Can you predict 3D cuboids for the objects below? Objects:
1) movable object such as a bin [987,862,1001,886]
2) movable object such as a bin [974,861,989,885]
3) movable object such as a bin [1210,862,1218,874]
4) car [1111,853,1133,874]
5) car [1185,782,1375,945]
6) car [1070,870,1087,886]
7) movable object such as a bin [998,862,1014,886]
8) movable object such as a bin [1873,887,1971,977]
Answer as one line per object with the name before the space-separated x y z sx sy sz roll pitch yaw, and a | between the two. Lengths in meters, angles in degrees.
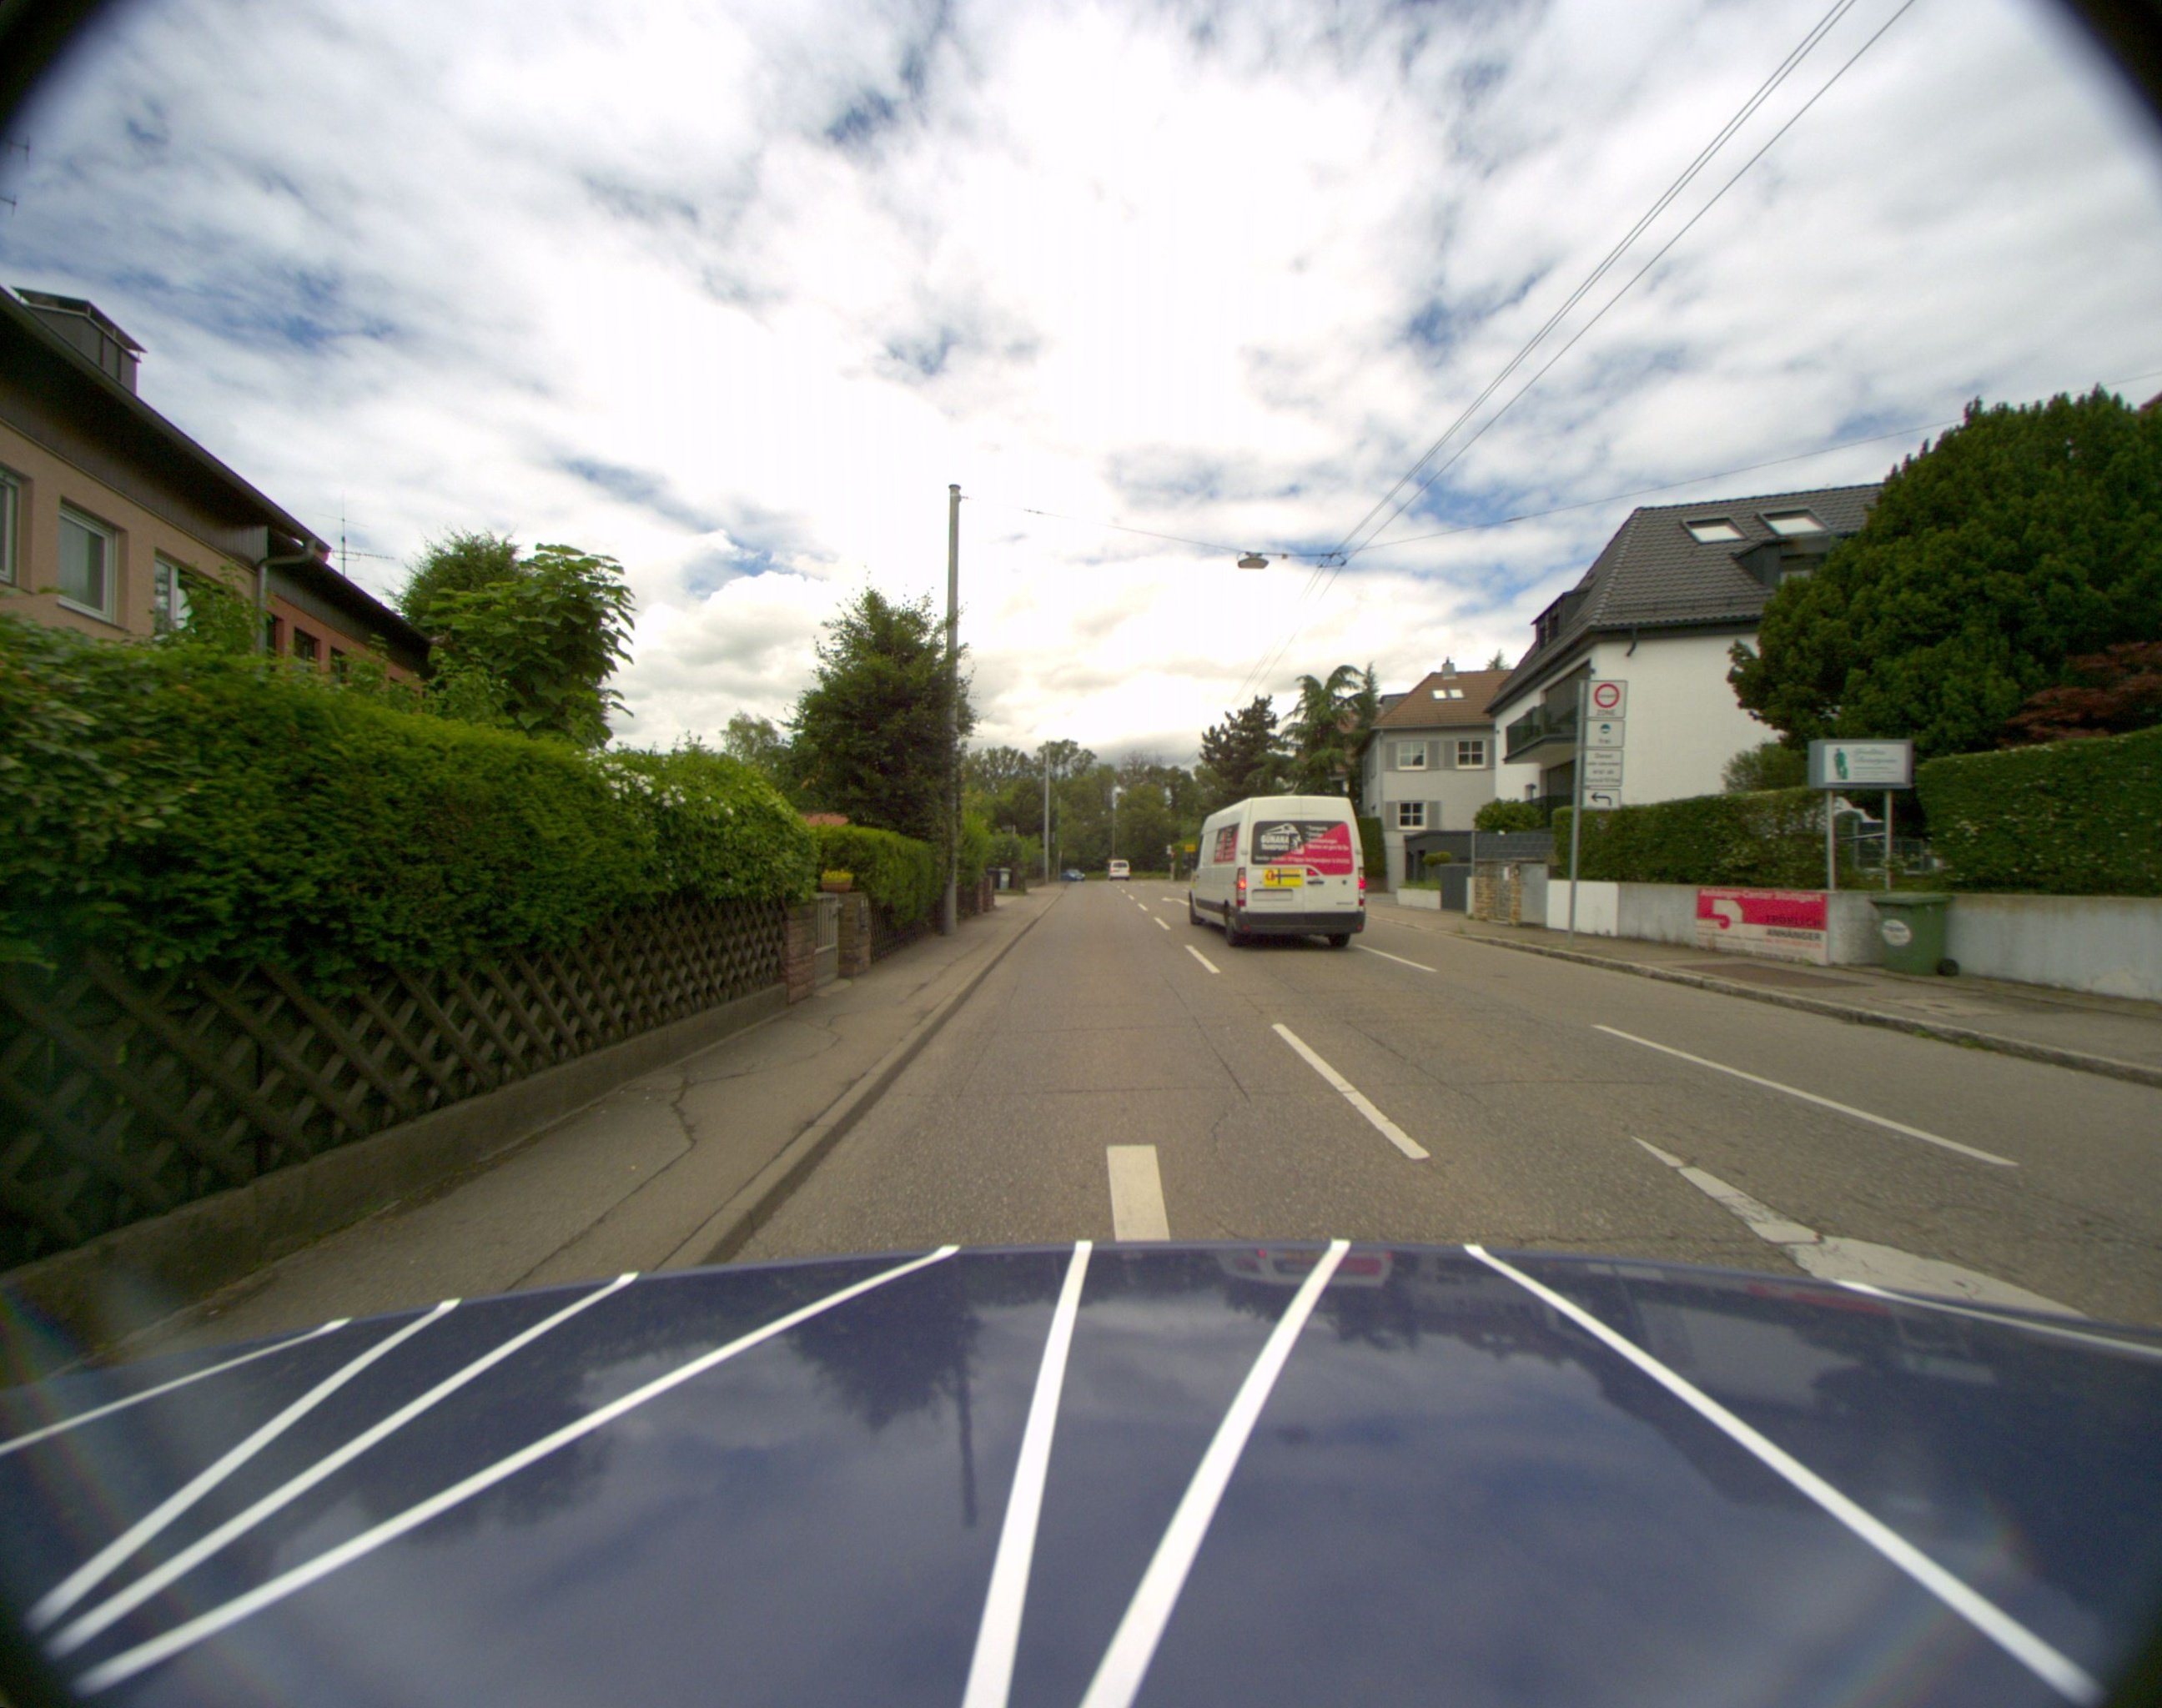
movable object such as a bin | -3.605 0.810 31.510 0.448 0.950 0.685 3 -1 -16
movable object such as a bin | -4.116 0.797 31.388 0.448 0.950 0.685 3 -1 -16
movable object such as a bin | 10.420 1.127 59.588 0.464 0.936 0.648 -1 0 29
car | 4.009 0.985 75.180 1.863 2.035 5.172 0 -1 0
car | 3.457 0.148 14.641 2.117 2.484 6.124 0 0 1
car | -0.333 2.850 92.150 1.863 1.855 4.611 0 -1 -3
movable object such as a bin | -3.133 0.835 31.671 0.448 0.950 0.685 3 -1 -19
movable object such as a bin | 9.512 0.867 8.613 0.508 0.968 0.540 0 1 4
